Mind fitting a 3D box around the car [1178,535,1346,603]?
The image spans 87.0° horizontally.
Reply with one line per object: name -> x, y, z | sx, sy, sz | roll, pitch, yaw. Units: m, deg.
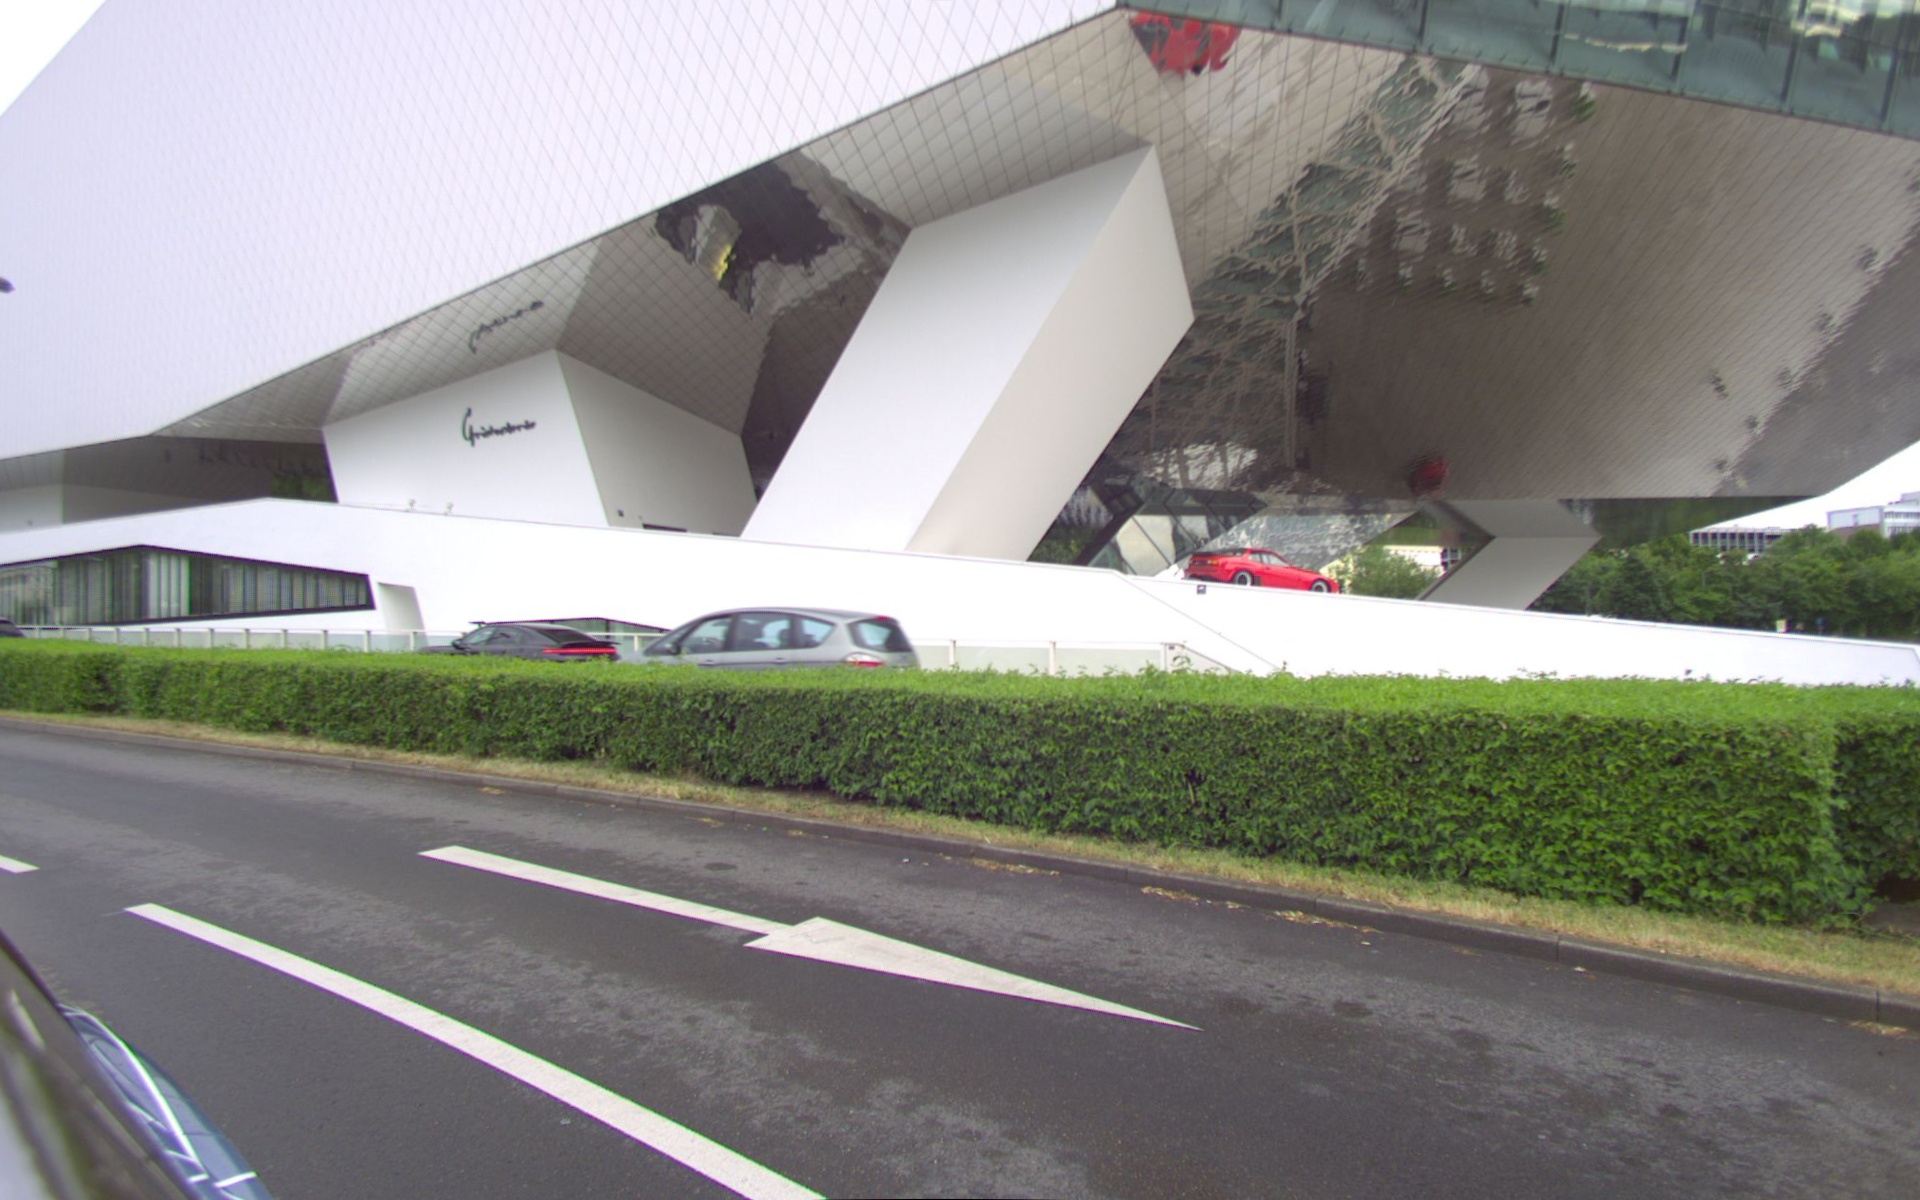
car -> 8.199, -0.792, 27.563 | 4.032, 1.252, 1.643 | 7, -4, -15

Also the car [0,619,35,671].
car -> -26.814, 1.212, 27.155 | 3.984, 1.348, 1.832 | -1, -2, 30

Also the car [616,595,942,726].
car -> -2.411, 0.749, 13.366 | 3.980, 1.505, 1.822 | -1, -2, 27

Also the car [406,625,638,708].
car -> -8.694, 1.252, 20.019 | 4.491, 1.483, 1.822 | -1, -2, 28
